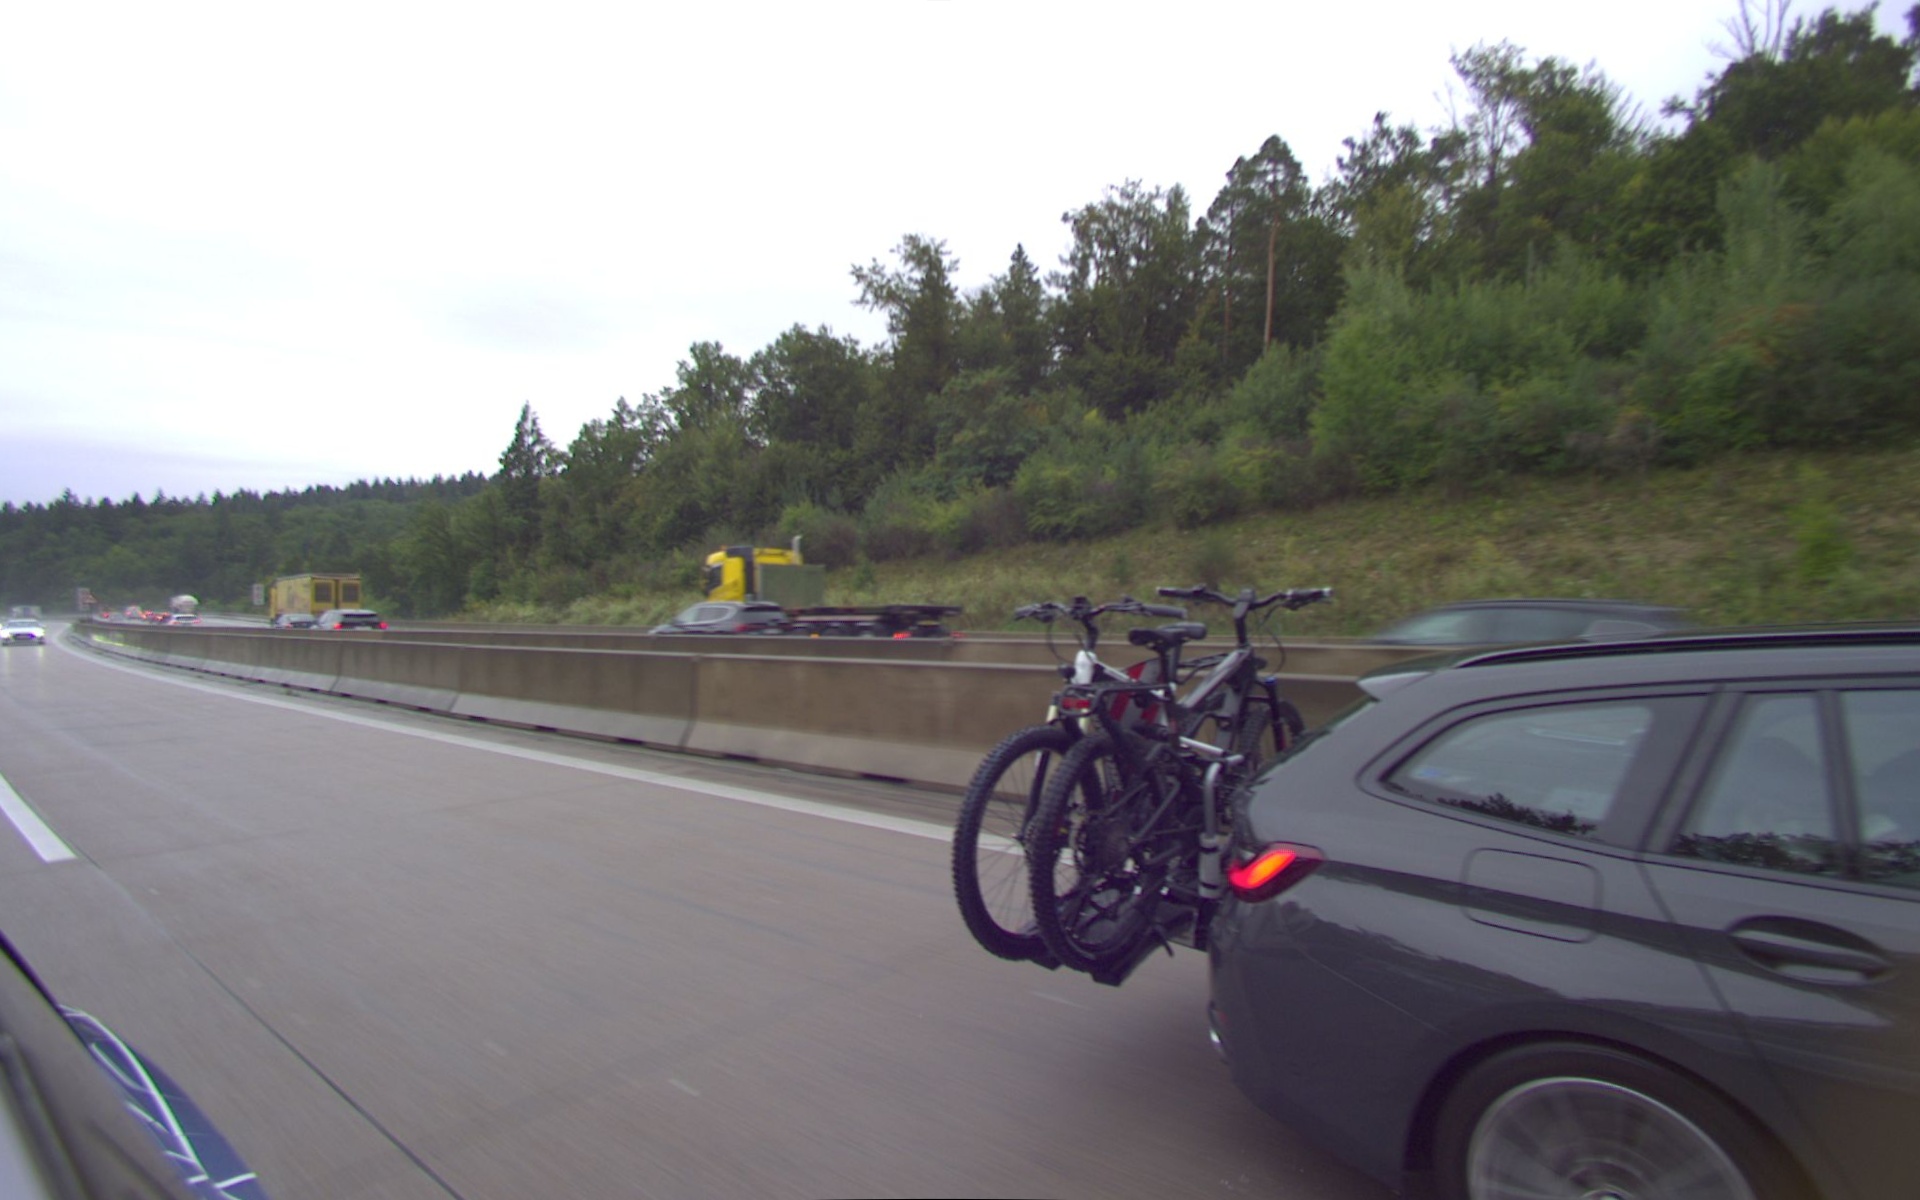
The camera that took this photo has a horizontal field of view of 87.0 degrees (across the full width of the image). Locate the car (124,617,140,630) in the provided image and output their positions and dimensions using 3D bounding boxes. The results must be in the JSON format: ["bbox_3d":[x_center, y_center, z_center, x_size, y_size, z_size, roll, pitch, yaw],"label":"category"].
[{"bbox_3d":[-158.481,4.503,193.679,1.969,2.467,6.755,-1,0,-41],"label":"car"}]

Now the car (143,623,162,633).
[{"bbox_3d":[-113.009,3.948,141.641,1.780,1.343,4.571,-1,0,-41],"label":"car"}]

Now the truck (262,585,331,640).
[{"bbox_3d":[-50.049,0.931,76.261,2.990,3.904,8.125,-1,0,-43],"label":"truck"}]

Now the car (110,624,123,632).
[{"bbox_3d":[-152.102,5.070,182.546,1.638,1.382,4.765,-1,0,-41],"label":"car"}]

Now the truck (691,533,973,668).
[{"bbox_3d":[-3.997,0.088,29.097,9.381,3.321,2.593,-1,-1,43],"label":"truck"}]

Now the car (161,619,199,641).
[{"bbox_3d":[-54.846,2.081,71.132,1.634,1.490,4.549,-1,0,-43],"label":"car"}]

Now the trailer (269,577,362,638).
[{"bbox_3d":[-45.942,0.590,71.843,2.979,3.904,13.712,-1,0,-43],"label":"trailer"}]

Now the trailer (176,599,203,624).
[{"bbox_3d":[-115.602,1.754,151.811,2.515,3.694,8.240,-1,0,-42],"label":"trailer"}]

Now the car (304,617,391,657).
[{"bbox_3d":[-22.725,1.348,37.506,4.085,1.356,1.636,-1,0,42],"label":"car"}]

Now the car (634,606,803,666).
[{"bbox_3d":[-6.180,0.883,25.578,4.765,1.356,1.786,-1,0,42],"label":"car"}]

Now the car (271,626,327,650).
[{"bbox_3d":[-36.092,2.038,55.239,4.547,1.207,1.635,-1,0,45],"label":"car"}]

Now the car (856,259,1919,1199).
[{"bbox_3d":[2.611,0.447,1.788,6.160,1.959,1.887,-1,-1,41],"label":"car"}]

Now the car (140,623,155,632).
[{"bbox_3d":[-131.969,4.531,164.299,1.639,1.382,4.727,-1,0,-42],"label":"car"}]

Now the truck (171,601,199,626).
[{"bbox_3d":[-120.283,2.138,157.000,2.533,3.694,10.504,-1,0,-42],"label":"truck"}]

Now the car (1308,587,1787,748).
[{"bbox_3d":[5.962,0.601,10.581,4.085,1.356,1.636,-1,0,42],"label":"car"}]

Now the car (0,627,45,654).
[{"bbox_3d":[-52.457,2.247,56.564,4.938,1.417,1.693,-2,-1,45],"label":"car"}]

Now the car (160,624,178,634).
[{"bbox_3d":[-99.407,3.667,127.179,1.493,1.174,4.409,-1,0,-42],"label":"car"}]
